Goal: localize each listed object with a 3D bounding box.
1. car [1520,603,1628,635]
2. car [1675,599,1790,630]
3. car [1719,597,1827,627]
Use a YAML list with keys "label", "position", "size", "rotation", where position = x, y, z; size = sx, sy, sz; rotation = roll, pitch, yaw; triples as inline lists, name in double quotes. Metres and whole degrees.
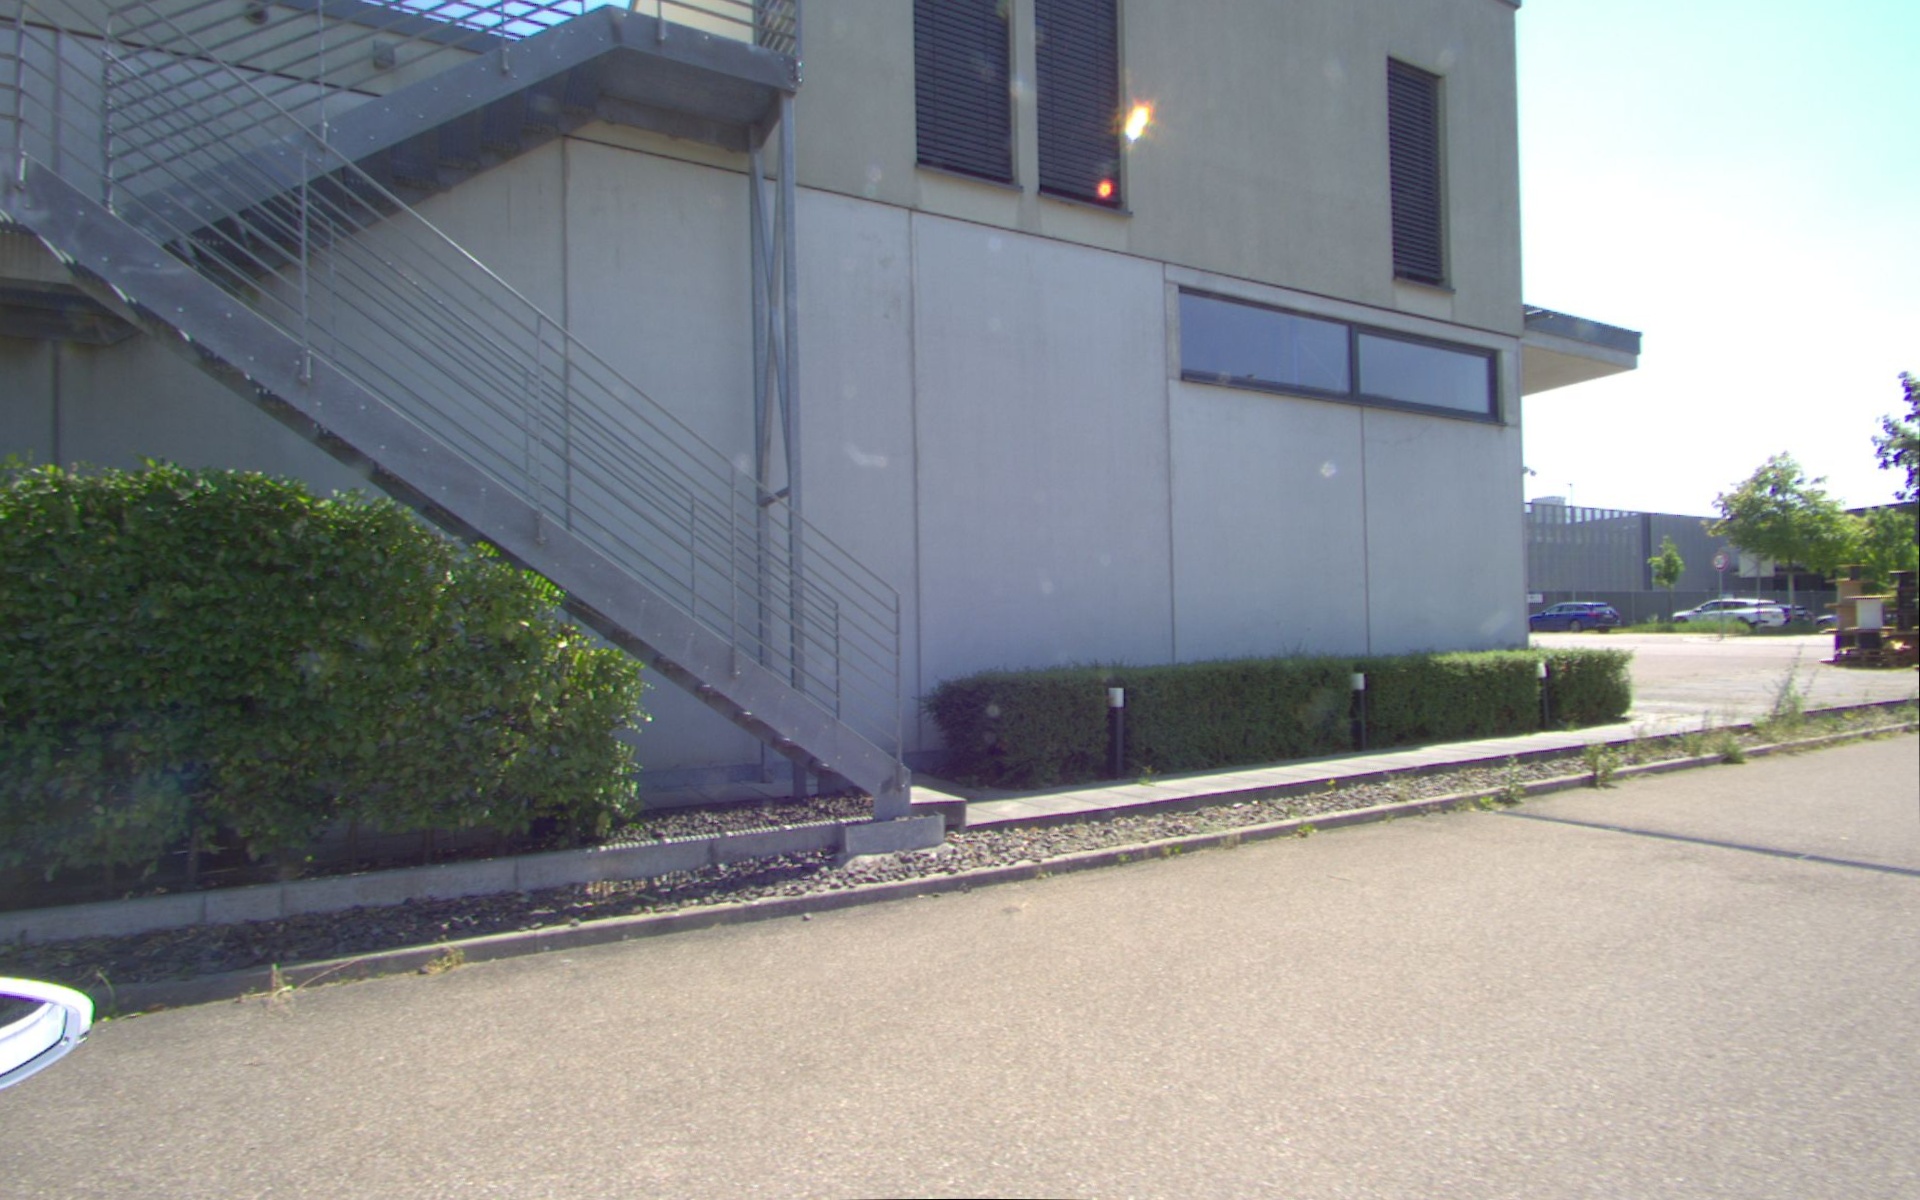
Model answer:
- label: "car"
  position: [29.171, 0.909, 47.736]
  size: [1.718, 1.433, 4.443]
  rotation: [1, -2, -14]
- label: "car"
  position: [38.581, 0.756, 50.126]
  size: [1.718, 1.433, 4.442]
  rotation: [1, -2, -15]
- label: "car"
  position: [41.255, 0.645, 50.924]
  size: [1.718, 1.433, 4.061]
  rotation: [1, -2, -15]
